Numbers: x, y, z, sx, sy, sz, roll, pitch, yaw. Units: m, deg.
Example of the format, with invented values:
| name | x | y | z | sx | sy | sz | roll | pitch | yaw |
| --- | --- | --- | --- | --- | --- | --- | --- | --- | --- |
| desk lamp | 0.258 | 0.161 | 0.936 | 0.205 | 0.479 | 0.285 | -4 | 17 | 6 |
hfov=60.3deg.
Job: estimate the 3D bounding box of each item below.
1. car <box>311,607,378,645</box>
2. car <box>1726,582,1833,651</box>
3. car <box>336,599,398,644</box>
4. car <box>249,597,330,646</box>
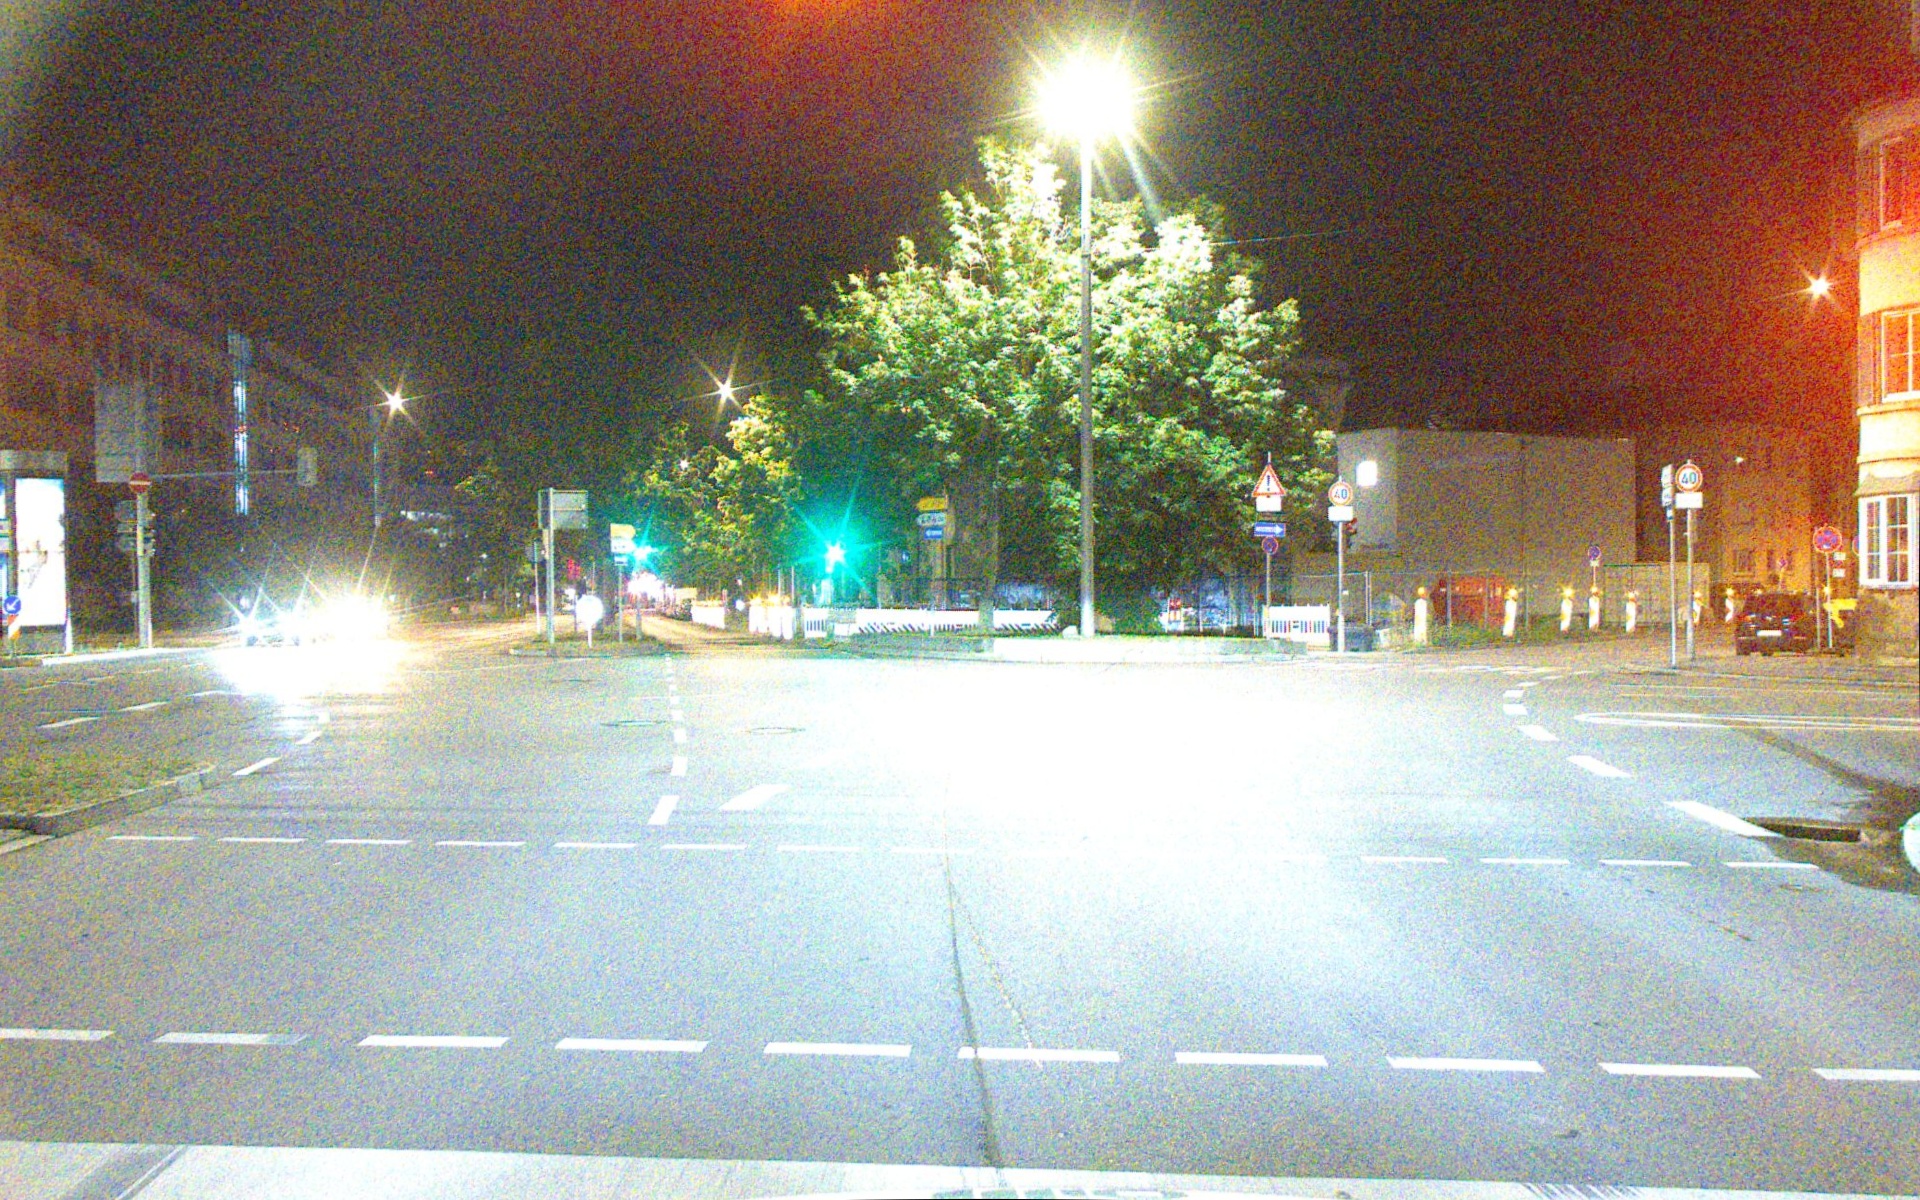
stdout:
| name | x | y | z | sx | sy | sz | roll | pitch | yaw |
| --- | --- | --- | --- | --- | --- | --- | --- | --- | --- |
| car | -22.755 | 0.946 | 61.248 | 1.726 | 1.345 | 3.539 | 0 | -1 | -10 |
| car | 20.504 | 0.417 | 41.322 | 1.700 | 1.640 | 3.607 | -1 | -1 | 38 |
| car | -23.849 | 0.848 | 66.617 | 1.726 | 1.758 | 3.539 | 0 | -1 | -10 |
| car | -21.873 | 0.702 | 54.087 | 1.586 | 1.541 | 3.991 | 0 | -1 | -9 |
